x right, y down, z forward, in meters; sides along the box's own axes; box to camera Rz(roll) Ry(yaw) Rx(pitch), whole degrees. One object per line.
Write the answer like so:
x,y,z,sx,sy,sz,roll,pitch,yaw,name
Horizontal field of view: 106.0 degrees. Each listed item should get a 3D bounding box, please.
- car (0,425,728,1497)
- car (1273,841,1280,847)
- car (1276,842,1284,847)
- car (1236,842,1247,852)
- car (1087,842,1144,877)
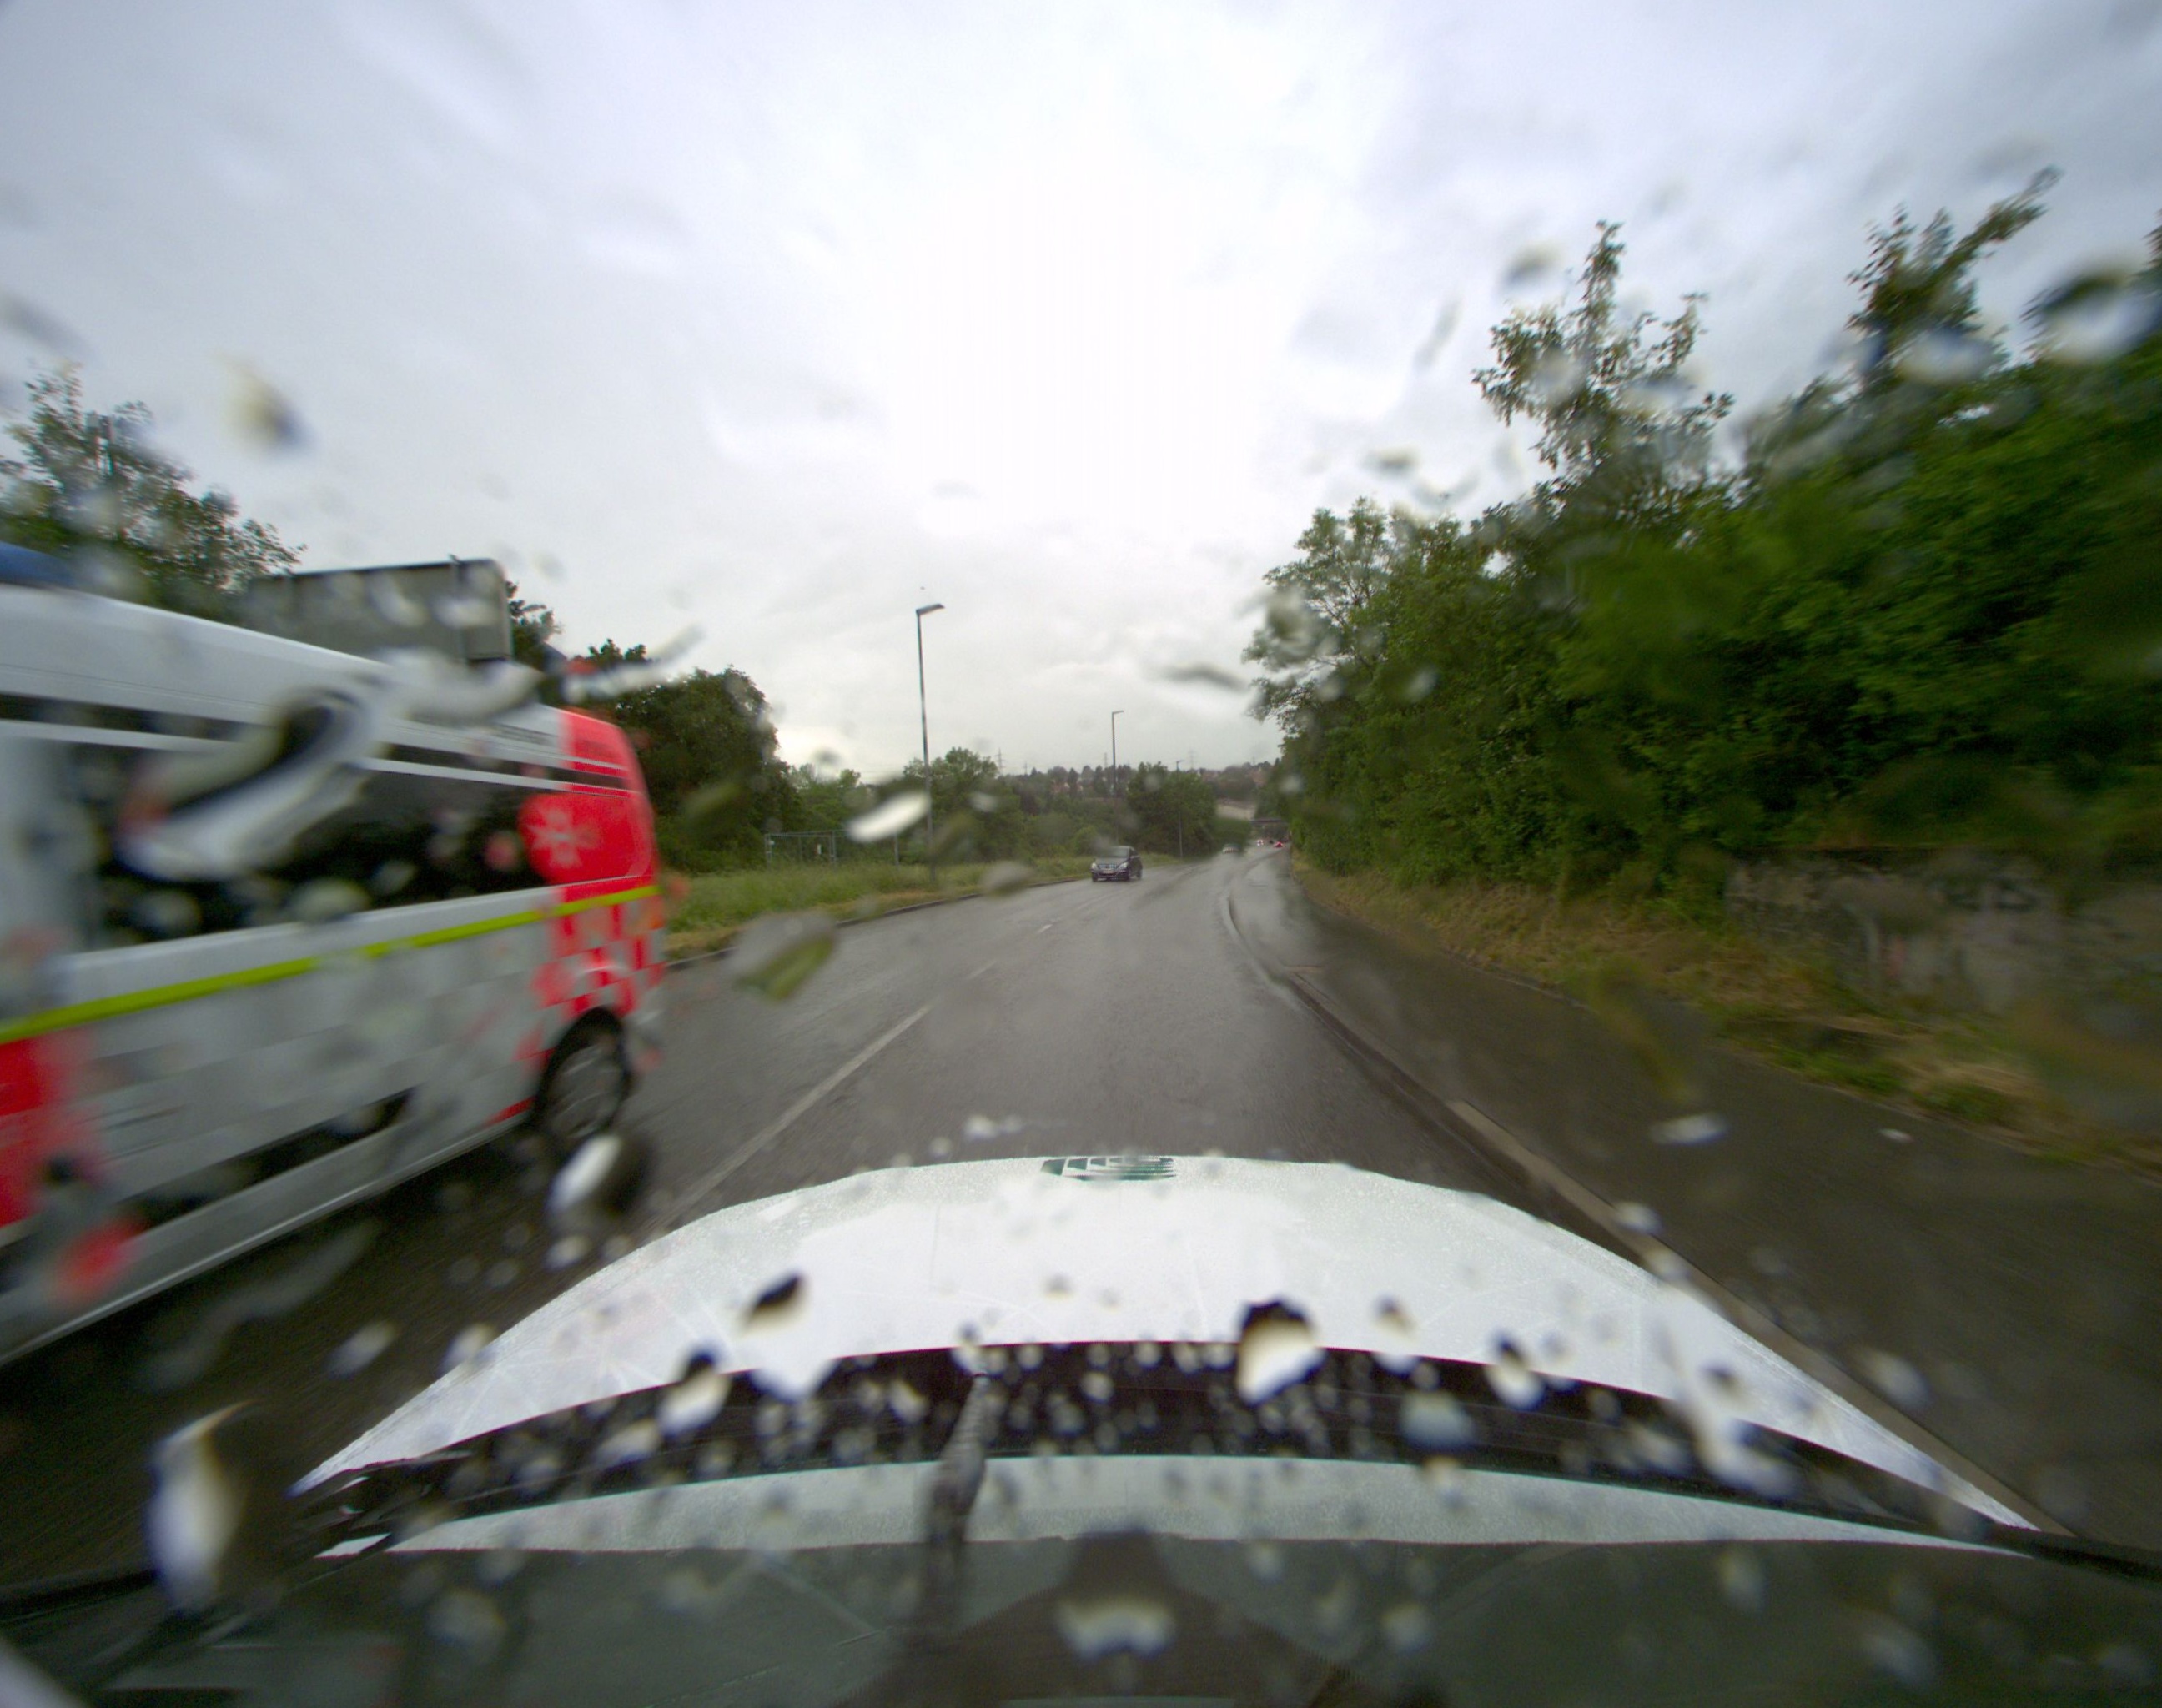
-3.429,0.248,2.549,2.036,2.417,5.459,-1,0,2,car
56.059,-2.825,233.028,1.755,1.563,4.016,-4,0,15,car
55.295,-2.677,226.217,1.755,1.380,4.016,-4,0,15,car
26.663,-1.108,135.058,1.628,1.488,3.465,-4,0,11,car
1.679,0.248,38.376,1.851,1.552,4.282,0,0,14,car
